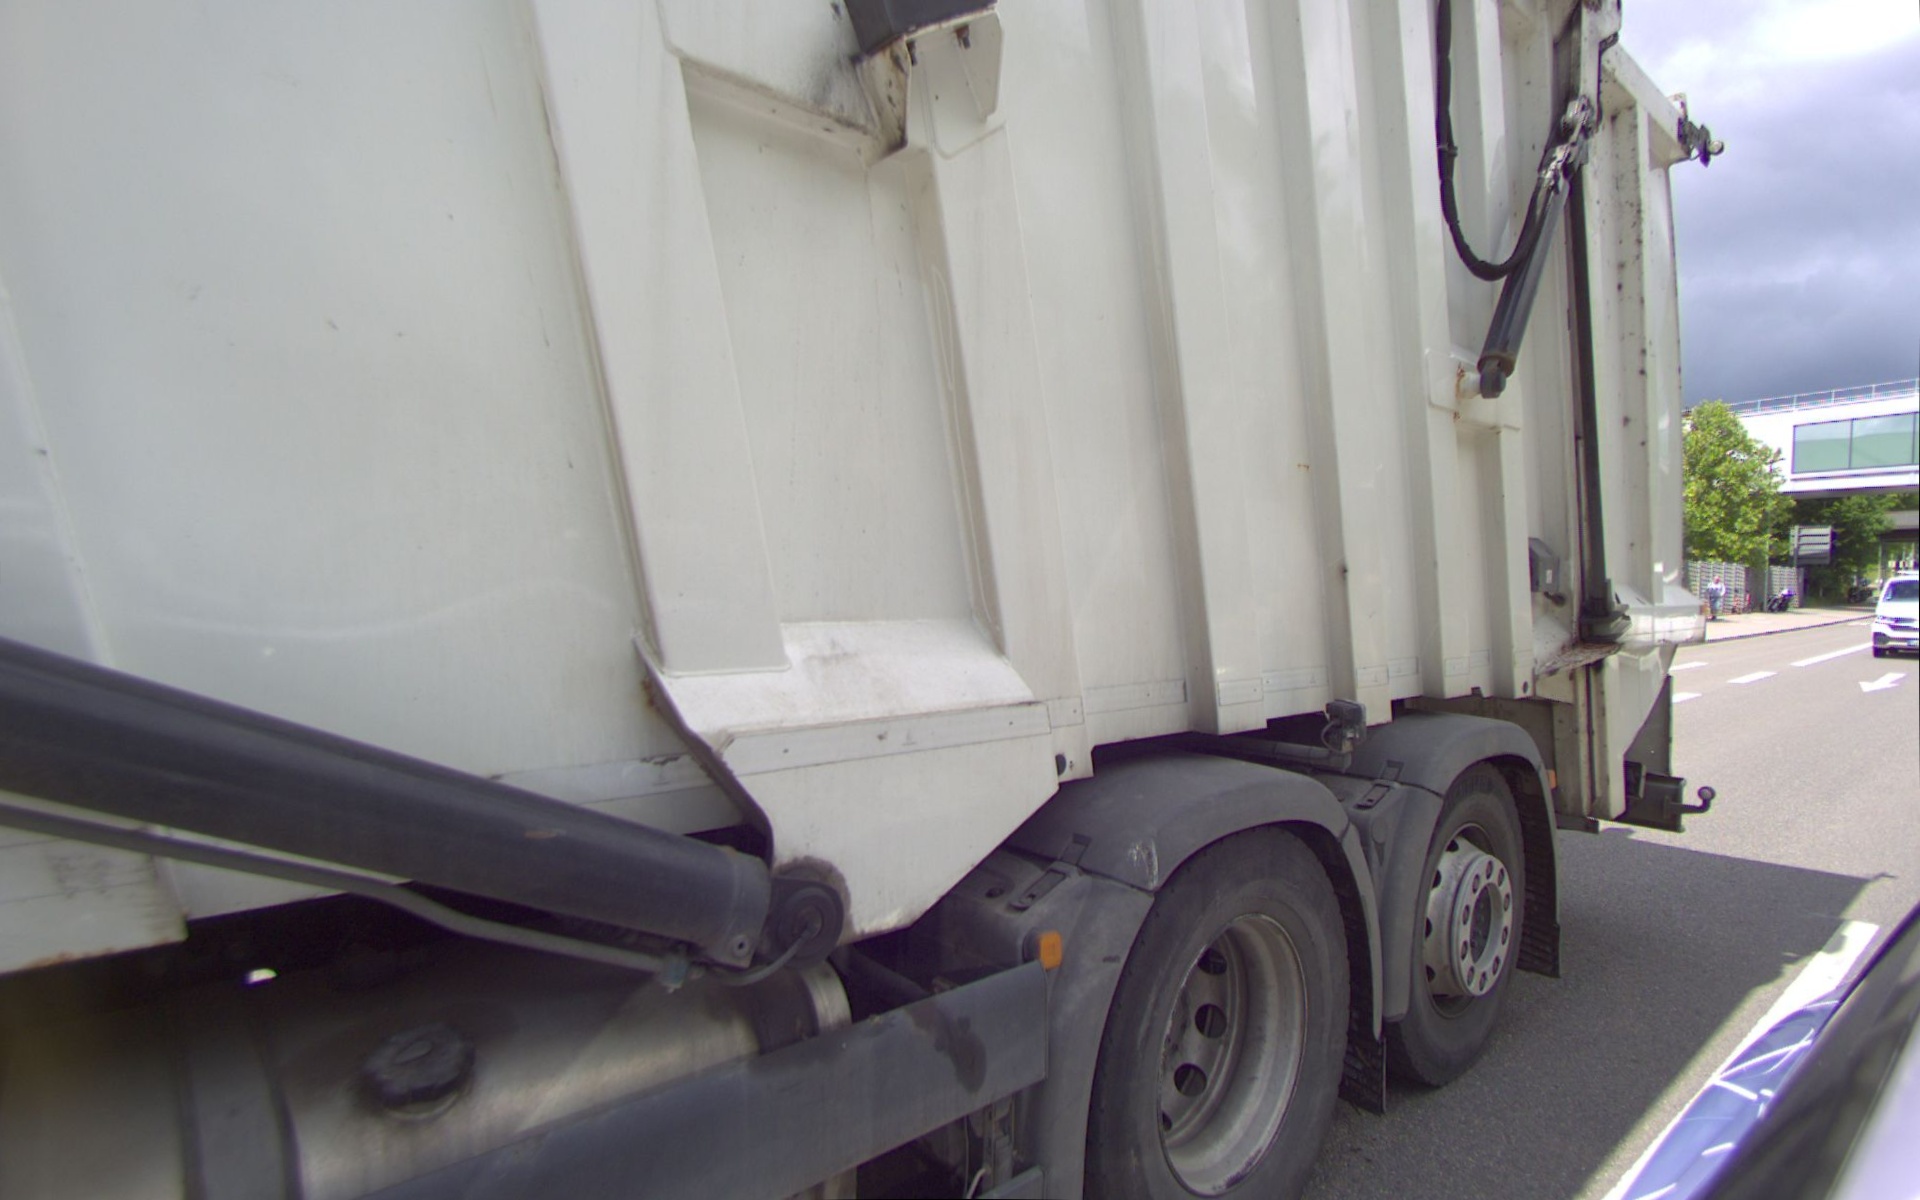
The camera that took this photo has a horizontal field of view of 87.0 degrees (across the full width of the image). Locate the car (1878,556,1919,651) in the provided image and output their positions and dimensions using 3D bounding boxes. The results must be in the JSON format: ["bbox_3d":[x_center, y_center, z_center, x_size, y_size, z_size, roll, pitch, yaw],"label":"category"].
[{"bbox_3d":[23.410,0.080,23.918,4.574,2.121,1.925,0,1,-40],"label":"car"}]

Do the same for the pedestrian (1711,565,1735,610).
[{"bbox_3d":[32.814,-0.546,43.512,0.647,1.936,0.738,-1,0,-44],"label":"pedestrian"}]

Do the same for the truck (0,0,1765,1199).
[{"bbox_3d":[-0.458,-0.555,2.736,10.000,3.962,2.492,-1,1,-42],"label":"truck"}]
